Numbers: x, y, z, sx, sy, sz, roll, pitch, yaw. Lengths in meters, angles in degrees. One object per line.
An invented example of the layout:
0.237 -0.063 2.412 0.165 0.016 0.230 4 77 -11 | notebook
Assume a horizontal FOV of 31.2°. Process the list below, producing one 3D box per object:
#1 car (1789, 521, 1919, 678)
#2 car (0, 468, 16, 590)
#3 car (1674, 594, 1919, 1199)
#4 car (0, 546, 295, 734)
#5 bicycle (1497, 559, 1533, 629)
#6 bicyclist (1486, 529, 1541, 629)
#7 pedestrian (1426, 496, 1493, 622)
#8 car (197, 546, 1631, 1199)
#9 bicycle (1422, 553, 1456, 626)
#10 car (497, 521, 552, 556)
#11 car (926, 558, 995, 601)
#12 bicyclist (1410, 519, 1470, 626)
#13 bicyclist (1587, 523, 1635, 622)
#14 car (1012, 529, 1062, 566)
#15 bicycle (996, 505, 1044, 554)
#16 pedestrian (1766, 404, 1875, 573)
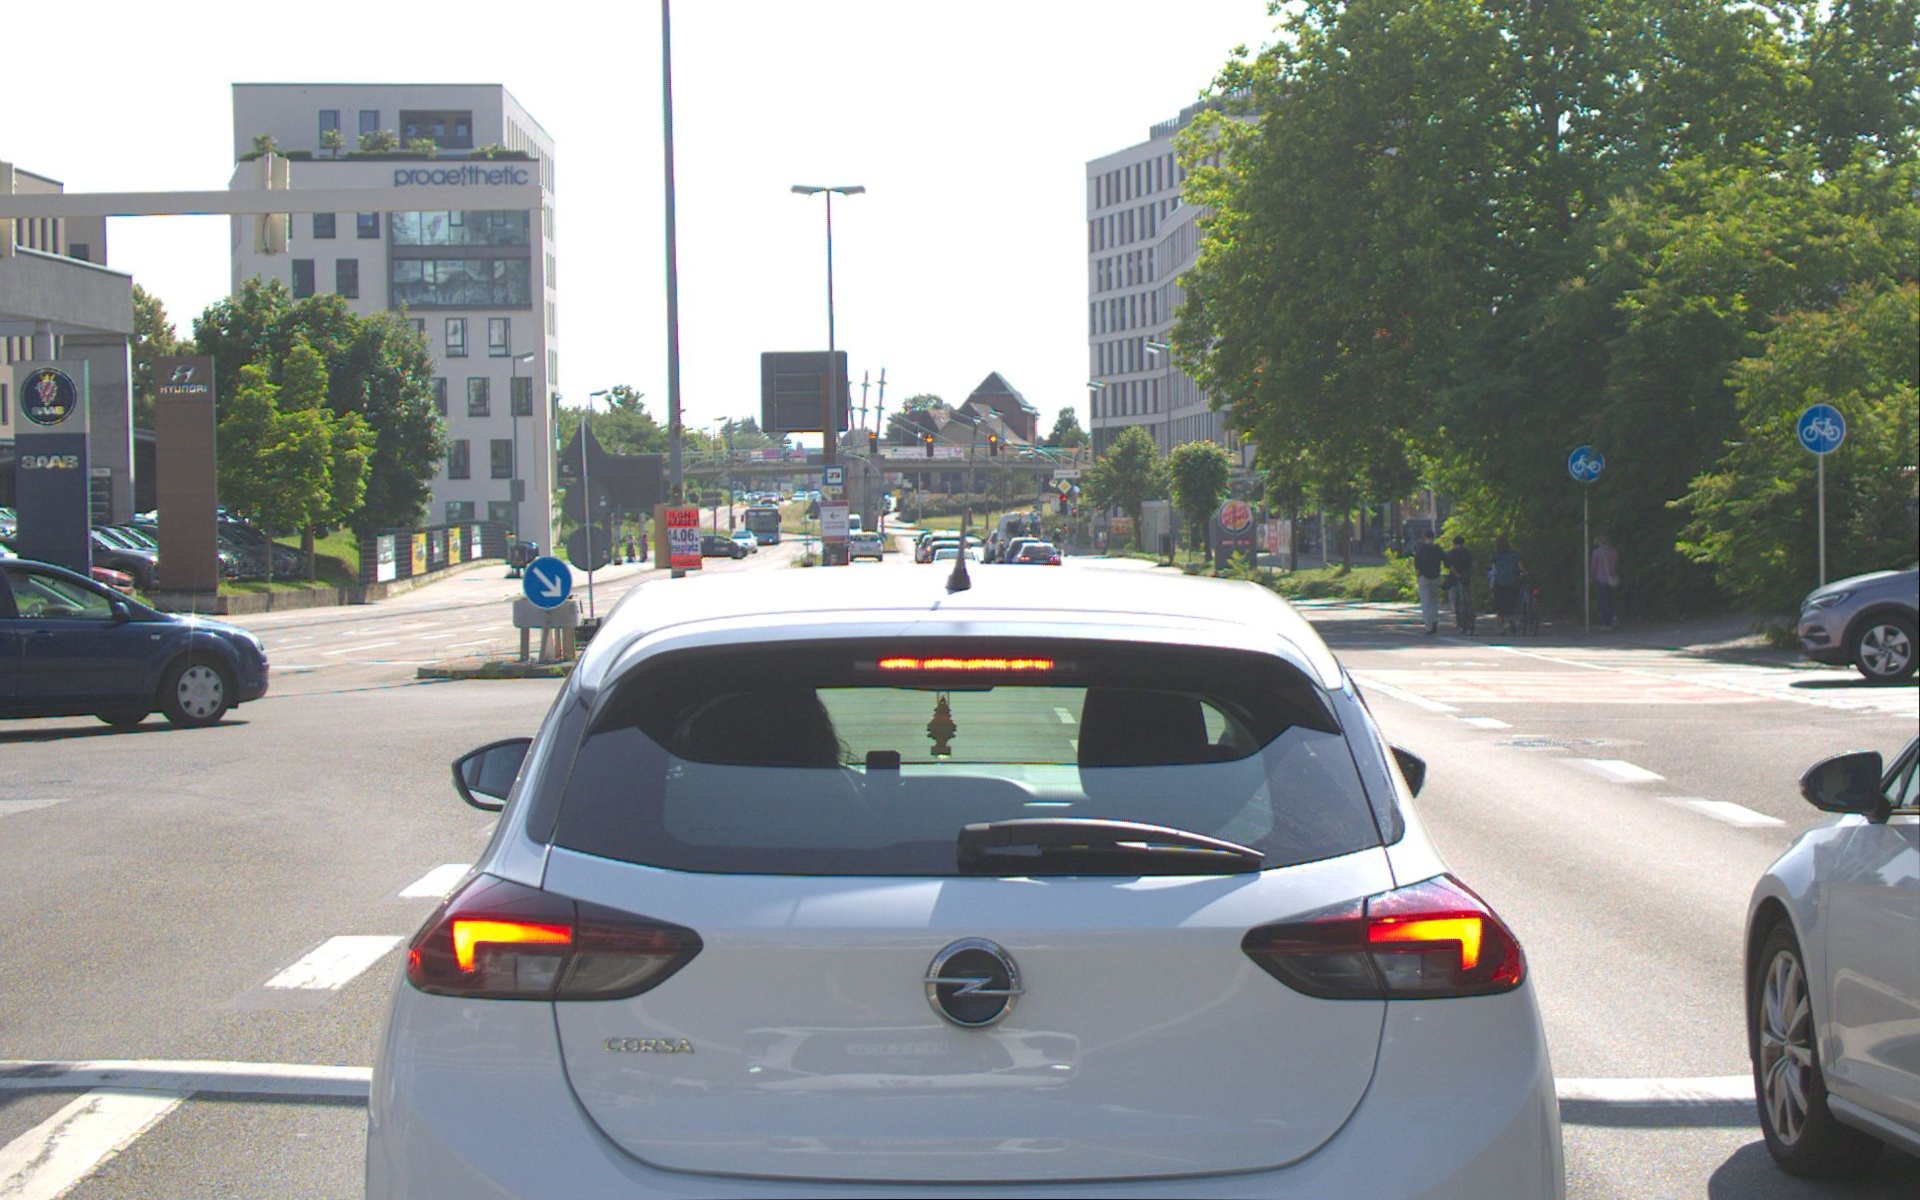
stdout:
10.853 -0.070 35.233 4.422 1.546 1.998 -2 1 17 | car
-22.559 -1.479 73.042 4.357 2.592 2.000 -1 1 5 | car
2.853 0.712 6.867 1.807 1.424 4.001 -1 1 -3 | car
-7.905 0.324 28.183 4.357 1.442 2.000 -2 1 -33 | car
9.234 -0.098 57.215 0.373 1.143 1.034 1 0 -3 | bicycle
9.209 -0.350 57.195 0.688 1.637 0.777 -1 1 -9 | bicyclist
9.000 -0.742 61.965 1.027 2.231 1.039 -1 1 -1 | pedestrian
-0.079 0.660 6.292 1.779 1.489 4.000 -1 1 -1 | car
8.062 -0.183 57.903 0.372 1.212 1.154 1 1 -1 | bicycle
-17.994 -2.527 142.143 1.806 1.381 4.000 1 0 -1 | car
-0.004 -0.647 109.613 1.993 1.327 4.000 1 0 -3 | car
8.080 -0.466 57.904 0.879 1.766 0.864 -1 1 0 | bicyclist
10.910 -0.462 57.640 0.652 1.631 0.659 1 0 0 | bicyclist
3.006 -2.052 135.244 1.806 1.381 4.000 1 0 -1 | car
2.693 -3.176 155.556 1.993 2.150 4.000 -1 1 -1 | bicycle
10.416 -1.339 41.635 1.027 2.007 1.039 -1 1 -1 | pedestrian
